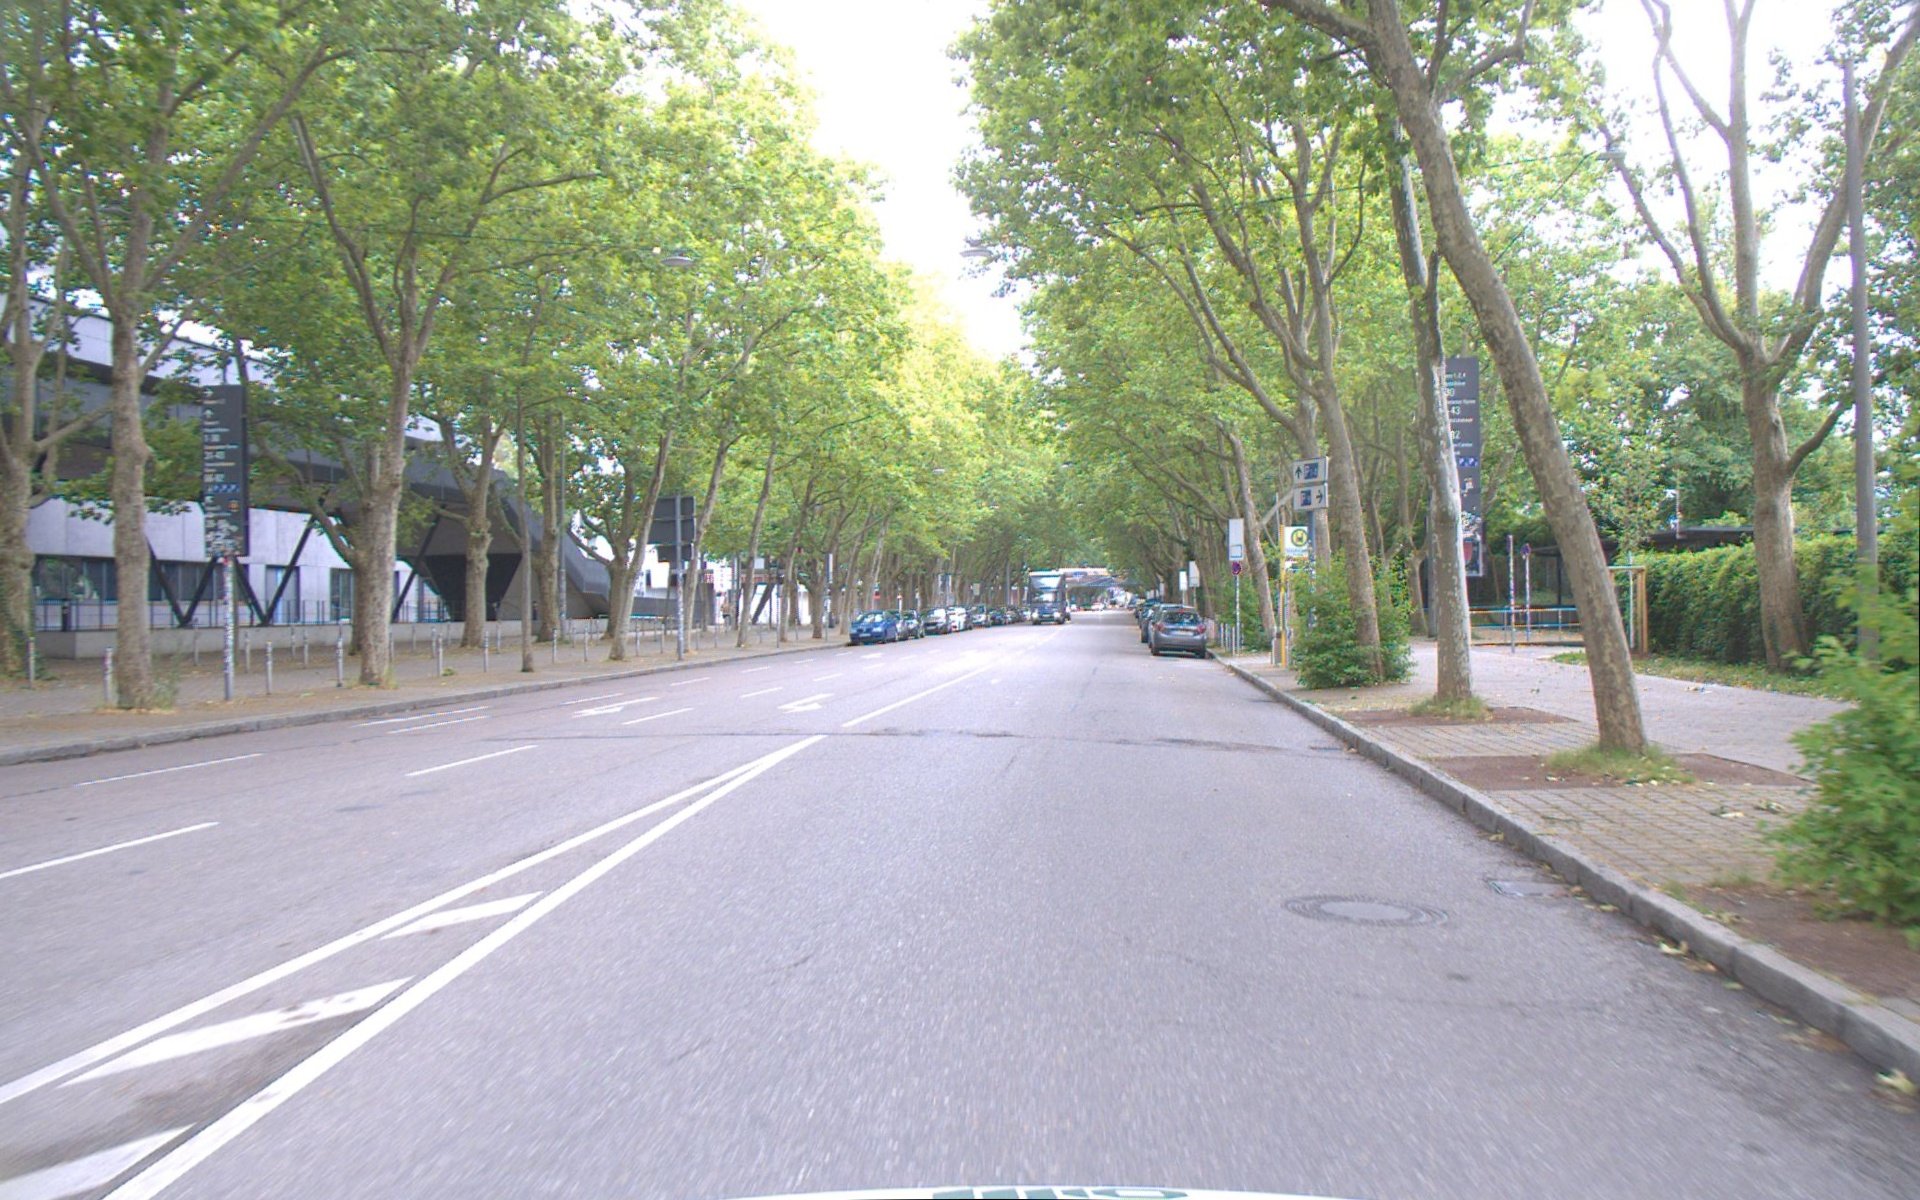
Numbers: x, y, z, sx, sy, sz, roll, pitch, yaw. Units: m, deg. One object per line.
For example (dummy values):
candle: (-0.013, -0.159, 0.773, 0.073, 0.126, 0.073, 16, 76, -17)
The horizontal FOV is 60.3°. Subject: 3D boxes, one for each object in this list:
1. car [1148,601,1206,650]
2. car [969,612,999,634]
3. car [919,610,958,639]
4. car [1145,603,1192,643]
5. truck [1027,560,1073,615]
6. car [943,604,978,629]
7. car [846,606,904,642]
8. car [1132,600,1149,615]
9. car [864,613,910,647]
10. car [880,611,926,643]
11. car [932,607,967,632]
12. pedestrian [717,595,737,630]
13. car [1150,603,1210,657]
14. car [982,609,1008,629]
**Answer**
car: (7.654, 0.875, 58.681, 1.683, 1.594, 4.096, 3, 0, 4)
car: (1.728, 1.671, 118.870, 1.855, 1.463, 4.001, -2, -2, 4)
car: (-1.172, 1.382, 91.686, 1.728, 1.443, 3.763, -3, -2, 5)
car: (8.571, 0.929, 68.176, 1.719, 1.516, 4.419, 3, 0, 5)
truck: (6.921, -0.885, 126.519, 2.585, 3.970, 9.547, -2, -1, 8)
car: (0.057, 1.046, 104.611, 1.855, 1.463, 4.001, -2, -2, 4)
car: (-3.692, 1.059, 72.408, 1.659, 1.443, 3.764, -4, -2, 10)
car: (19.858, 0.821, 181.995, 1.719, 1.561, 3.931, 2, 0, 6)
car: (-3.365, 1.422, 77.142, 1.729, 1.443, 3.762, -3, -2, 3)
car: (-2.777, 1.327, 81.841, 1.728, 1.443, 3.763, -3, -2, 5)
car: (-0.592, 1.183, 98.927, 1.696, 1.355, 4.002, -2, -2, 5)
pedestrian: (-12.415, 0.651, 88.090, 0.761, 1.867, 0.870, 0, 0, -29)
car: (7.047, 0.921, 53.268, 1.663, 1.545, 4.457, 3, 0, 5)
car: (2.800, 1.537, 131.111, 1.855, 1.463, 4.001, -2, -2, 4)
